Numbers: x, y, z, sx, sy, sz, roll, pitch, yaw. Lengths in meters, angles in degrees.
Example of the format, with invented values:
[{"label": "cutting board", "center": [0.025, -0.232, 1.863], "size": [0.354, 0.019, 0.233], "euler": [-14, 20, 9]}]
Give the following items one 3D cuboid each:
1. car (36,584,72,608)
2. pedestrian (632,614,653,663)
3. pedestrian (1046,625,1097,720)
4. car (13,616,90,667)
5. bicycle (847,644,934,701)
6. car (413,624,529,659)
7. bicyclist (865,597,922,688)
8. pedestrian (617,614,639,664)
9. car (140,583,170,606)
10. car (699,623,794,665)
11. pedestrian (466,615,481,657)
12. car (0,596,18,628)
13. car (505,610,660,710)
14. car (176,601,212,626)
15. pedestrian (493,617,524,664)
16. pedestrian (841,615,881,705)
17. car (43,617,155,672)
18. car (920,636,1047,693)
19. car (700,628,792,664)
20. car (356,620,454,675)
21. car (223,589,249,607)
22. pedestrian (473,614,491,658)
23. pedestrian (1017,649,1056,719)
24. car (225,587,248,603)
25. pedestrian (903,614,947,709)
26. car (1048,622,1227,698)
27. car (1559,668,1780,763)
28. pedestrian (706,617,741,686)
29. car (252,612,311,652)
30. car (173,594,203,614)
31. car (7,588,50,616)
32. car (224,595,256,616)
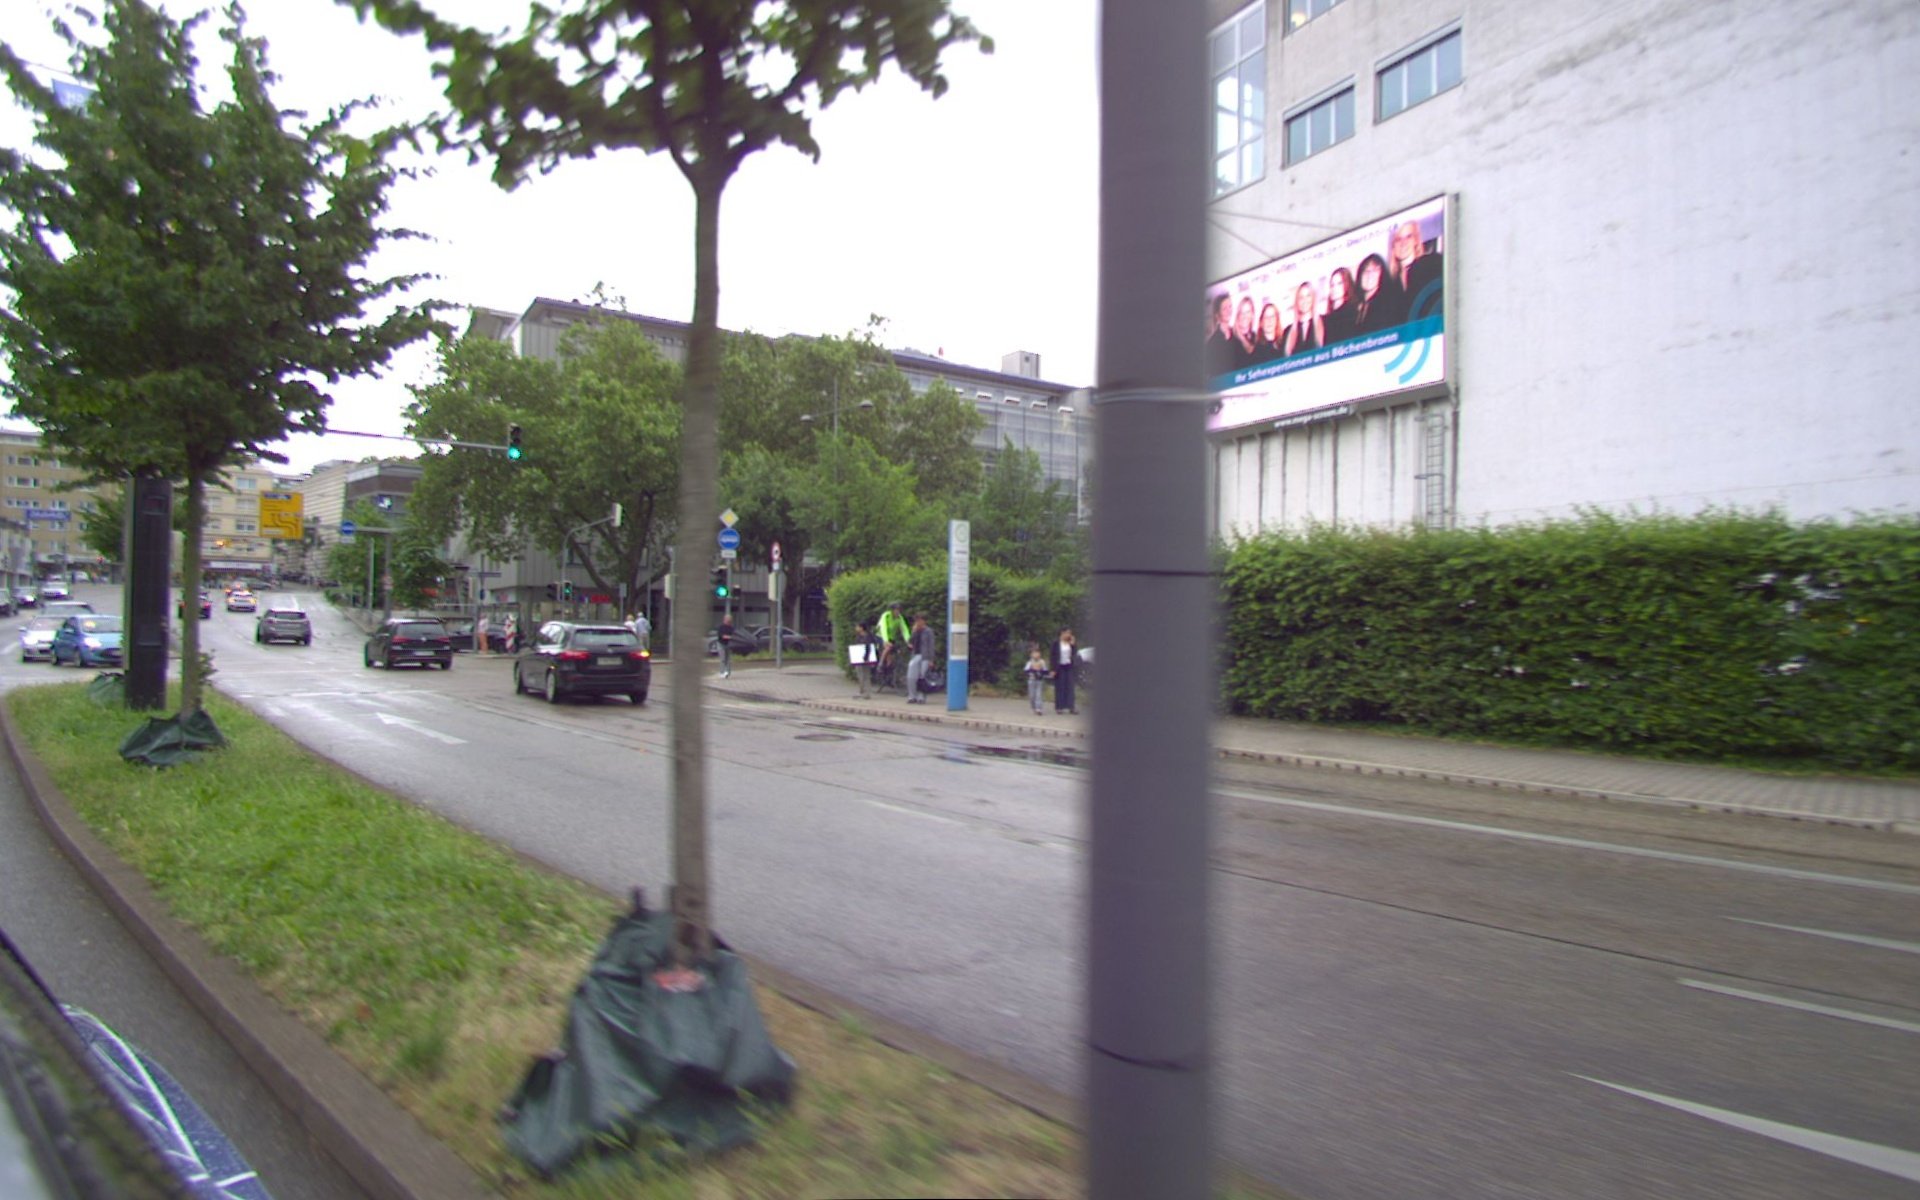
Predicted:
[{"label": "car", "center": [-74.080, -0.314, 82.802], "size": [1.804, 1.749, 4.009], "euler": [3, 0, -38]}, {"label": "pedestrian", "center": [-11.712, 1.419, 37.280], "size": [0.520, 1.778, 0.593], "euler": [2, -2, -41]}, {"label": "pedestrian", "center": [1.913, 1.227, 17.324], "size": [0.565, 1.571, 0.706], "euler": [-2, -3, 42]}, {"label": "car", "center": [-29.196, 1.282, 32.585], "size": [1.743, 1.420, 4.006], "euler": [0, 0, -41]}, {"label": "bicycle", "center": [-1.518, 1.534, 21.767], "size": [2.058, 1.119, 0.643], "euler": [-1, -2, 43]}, {"label": "car", "center": [-22.416, 1.907, 46.538], "size": [4.358, 1.406, 1.936], "euler": [2, -2, -6]}, {"label": "bicyclist", "center": [-1.426, 0.900, 21.714], "size": [0.953, 1.904, 0.783], "euler": [-1, -2, 41]}, {"label": "pedestrian", "center": [-12.078, 1.421, 36.826], "size": [0.520, 1.777, 0.593], "euler": [-2, 1, -41]}, {"label": "car", "center": [-67.397, -0.479, 84.786], "size": [1.804, 1.749, 4.009], "euler": [3, 0, -38]}, {"label": "car", "center": [-9.047, 1.891, 43.008], "size": [3.544, 1.709, 1.640], "euler": [3, -3, -39]}, {"label": "pedestrian", "center": [-21.110, 1.565, 43.890], "size": [0.406, 1.777, 0.677], "euler": [2, -3, -41]}, {"label": "car", "center": [-59.602, 0.715, 62.406], "size": [1.804, 1.749, 4.009], "euler": [3, 0, -38]}, {"label": "car", "center": [-7.565, 1.146, 20.035], "size": [1.803, 1.749, 4.269], "euler": [4, -3, -35]}, {"label": "car", "center": [-50.385, 0.881, 66.538], "size": [1.602, 1.567, 3.665], "euler": [2, -2, -41]}, {"label": "pedestrian", "center": [-18.825, 1.664, 42.234], "size": [0.823, 1.921, 0.853], "euler": [0, -1, 27]}, {"label": "pedestrian", "center": [-2.010, 1.207, 20.574], "size": [0.527, 1.778, 0.622], "euler": [-1, -2, 38]}, {"label": "car", "center": [-24.861, 1.262, 29.197], "size": [3.684, 1.485, 1.680], "euler": [-1, -2, 37]}, {"label": "car", "center": [0.630, 1.813, 29.210], "size": [1.576, 1.550, 3.602], "euler": [2, -3, -44]}, {"label": "car", "center": [-9.935, 2.138, 47.140], "size": [1.702, 1.598, 3.941], "euler": [-2, -3, 44]}, {"label": "car", "center": [-16.502, 1.390, 29.988], "size": [1.735, 1.431, 4.104], "euler": [4, -3, -40]}, {"label": "car", "center": [-65.682, -0.195, 91.810], "size": [1.598, 1.503, 3.886], "euler": [5, -3, -39]}, {"label": "pedestrian", "center": [-20.375, 1.527, 43.097], "size": [0.441, 1.851, 0.677], "euler": [2, 0, -43]}, {"label": "pedestrian", "center": [1.313, 1.435, 17.387], "size": [0.501, 1.159, 0.463], "euler": [-2, -3, 42]}, {"label": "car", "center": [-72.221, -0.509, 100.951], "size": [1.604, 1.448, 3.654], "euler": [2, 0, -39]}, {"label": "pedestrian", "center": [-0.670, 1.167, 19.469], "size": [0.641, 1.778, 0.586], "euler": [-1, -2, 32]}, {"label": "car", "center": [4.110, 1.366, 23.690], "size": [3.829, 1.637, 1.580], "euler": [-1, -3, 37]}, {"label": "car", "center": [14.764, 2.331, 21.076], "size": [3.992, 1.587, 1.961], "euler": [0, 0, -24]}, {"label": "pedestrian", "center": [-6.354, 1.370, 27.161], "size": [0.639, 1.777, 0.593], "euler": [2, 1, -44]}, {"label": "car", "center": [-32.099, 1.492, 47.832], "size": [1.804, 1.749, 4.318], "euler": [2, -2, -40]}, {"label": "car", "center": [-63.105, 0.338, 82.737], "size": [1.691, 1.490, 3.964], "euler": [4, -2, -40]}, {"label": "car", "center": [-65.547, 0.119, 71.246], "size": [1.804, 1.749, 4.009], "euler": [3, 0, -38]}, {"label": "car", "center": [-54.787, 0.424, 76.973], "size": [1.651, 1.527, 3.650], "euler": [4, -3, -39]}]
